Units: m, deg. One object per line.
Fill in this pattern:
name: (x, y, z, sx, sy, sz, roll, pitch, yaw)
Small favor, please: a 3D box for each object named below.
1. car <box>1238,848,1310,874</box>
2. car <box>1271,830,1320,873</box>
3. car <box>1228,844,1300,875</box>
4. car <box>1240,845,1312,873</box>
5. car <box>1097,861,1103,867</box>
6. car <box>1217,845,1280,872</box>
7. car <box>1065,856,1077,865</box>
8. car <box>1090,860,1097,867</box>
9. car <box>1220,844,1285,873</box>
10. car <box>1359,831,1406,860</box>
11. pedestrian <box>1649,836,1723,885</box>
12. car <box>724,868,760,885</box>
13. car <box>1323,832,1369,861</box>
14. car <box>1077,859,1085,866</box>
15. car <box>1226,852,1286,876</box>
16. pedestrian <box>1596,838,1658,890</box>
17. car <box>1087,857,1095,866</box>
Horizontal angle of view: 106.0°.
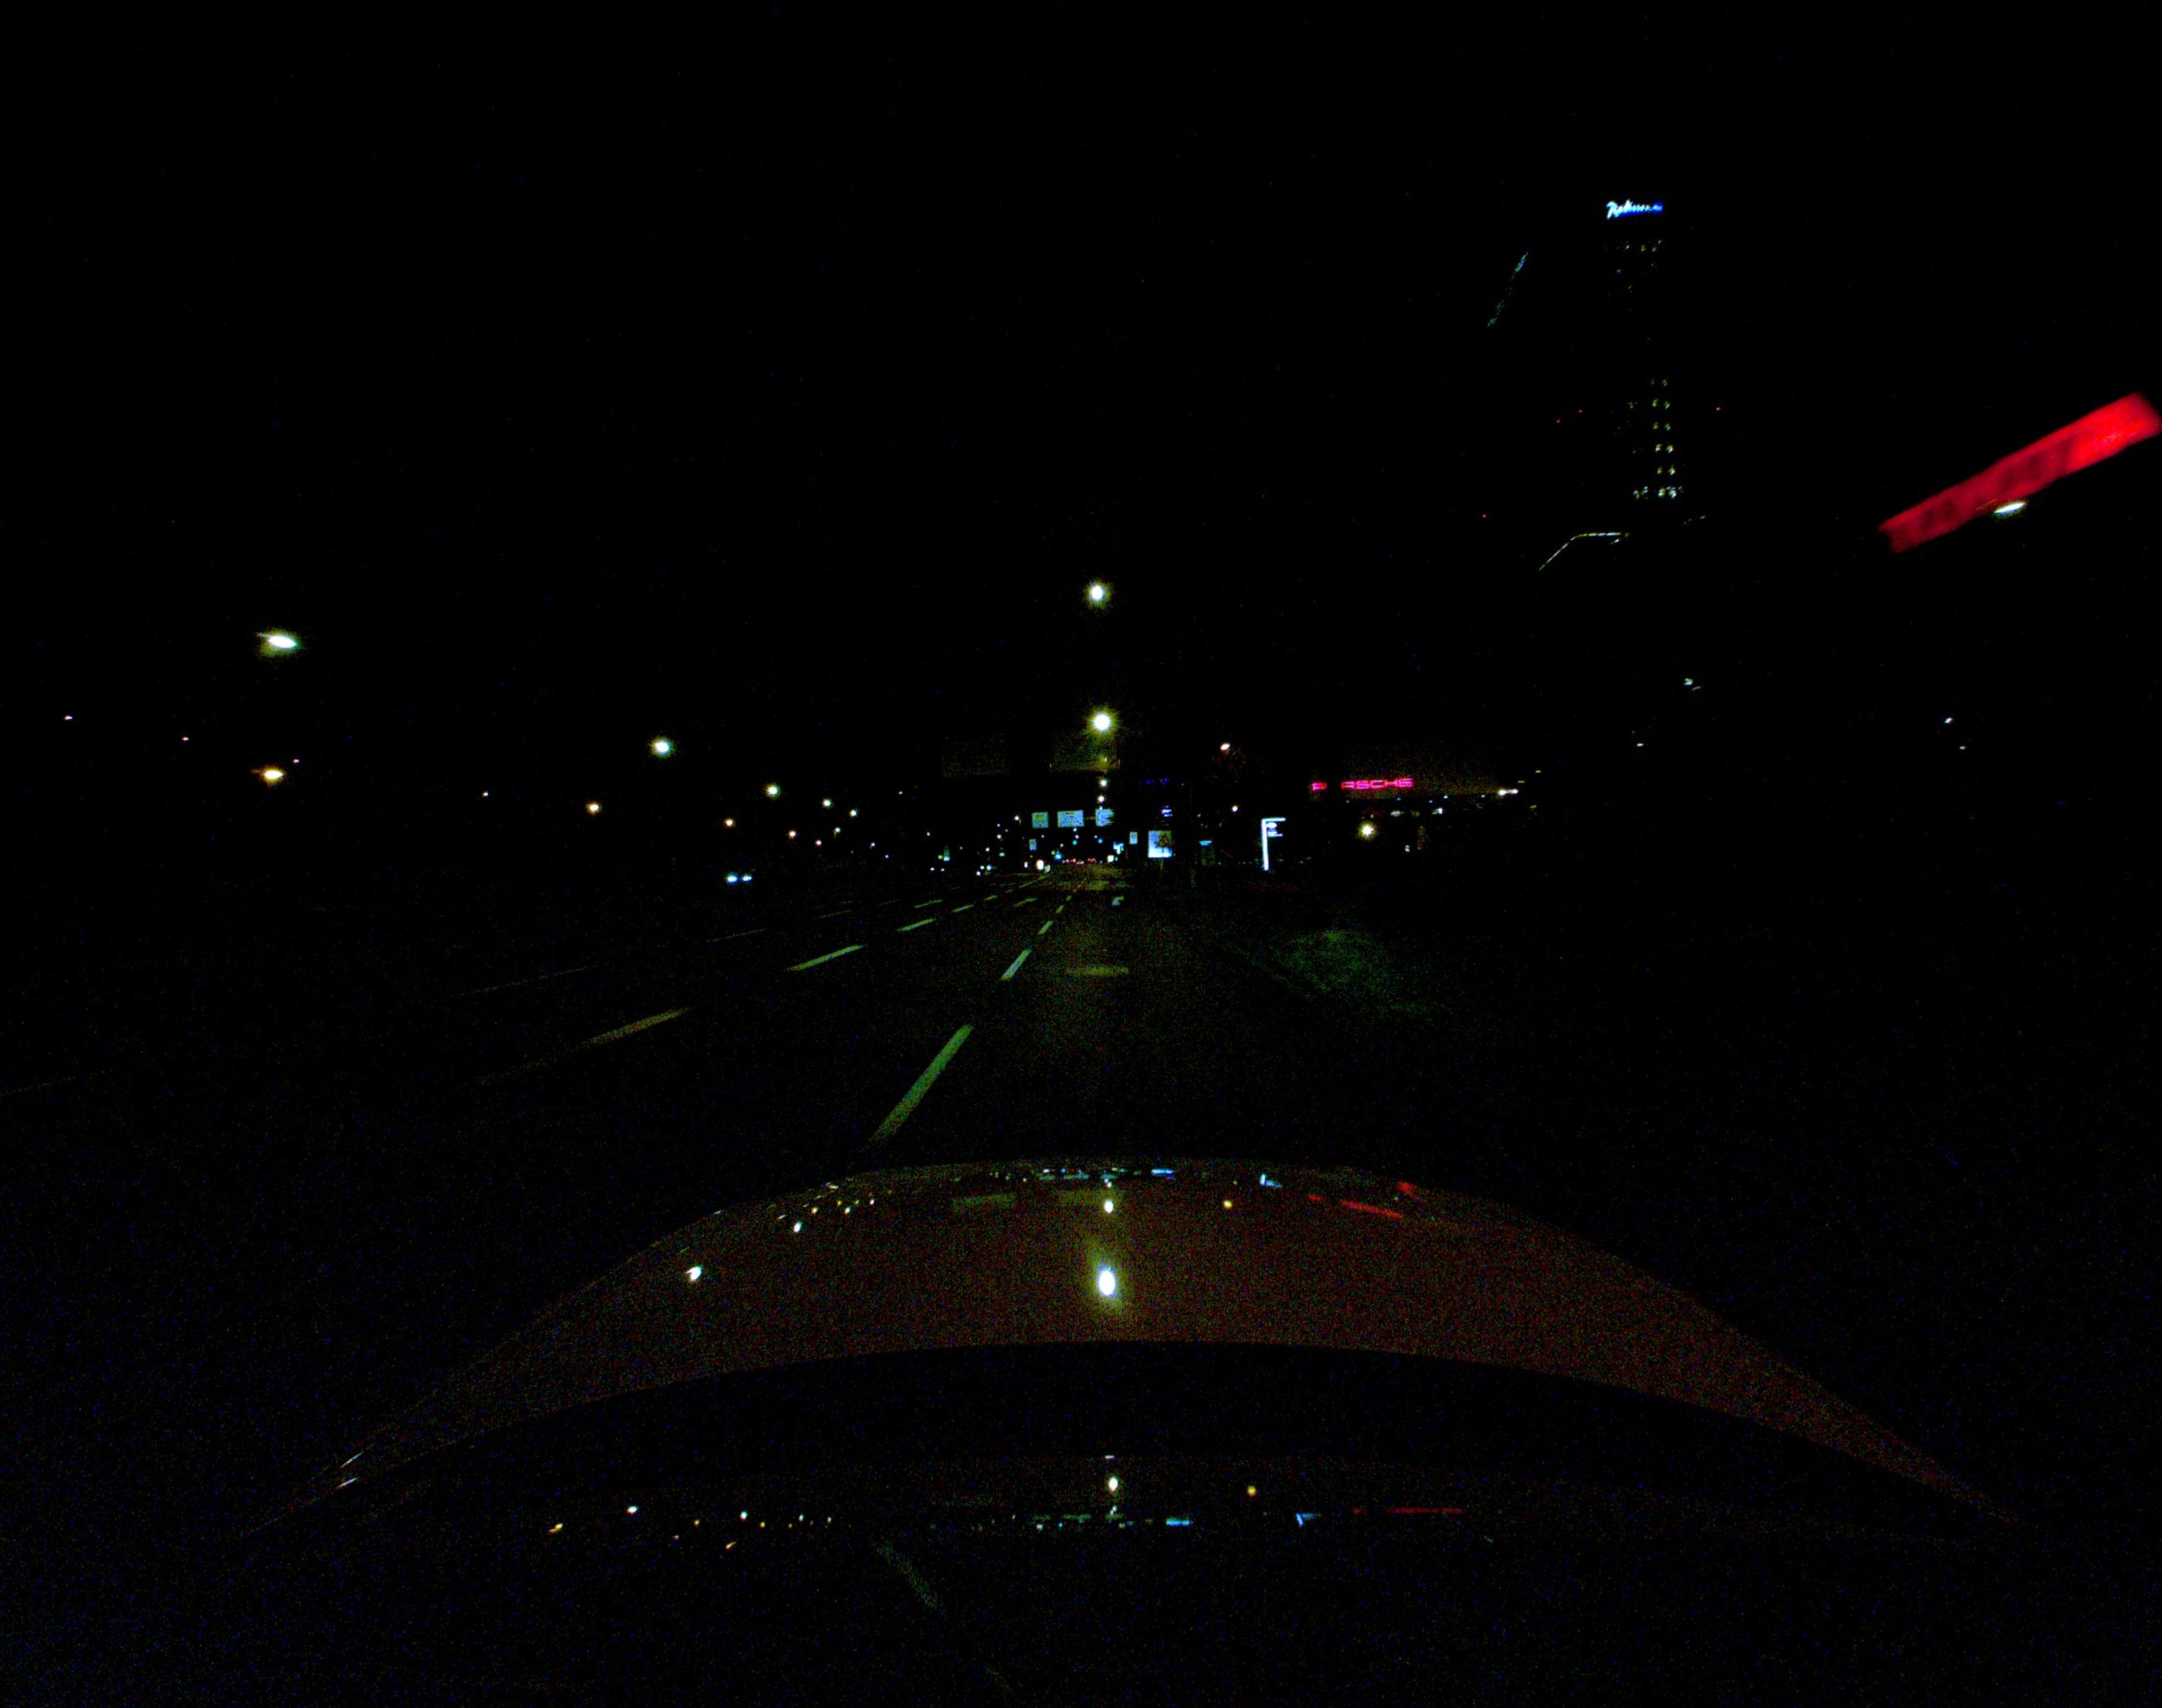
car: (11.238, 0.409, 47.596, 3.813, 1.411, 1.710, -1, -2, -1)
car: (10.445, -0.071, 39.465, 1.977, 1.945, 4.019, -1, -2, 19)
car: (11.246, 0.355, 50.255, 3.977, 1.856, 1.820, -1, -2, -2)
car: (10.817, 0.278, 45.308, 3.615, 1.451, 1.706, -1, -2, -2)
car: (5.448, 2.863, 234.750, 1.831, 1.838, 4.000, -1, -2, 1)
car: (11.760, 0.336, 57.274, 3.977, 1.856, 1.820, -1, -2, -2)
car: (-2.019, 1.277, 162.572, 1.959, 1.711, 4.004, -1, -2, 4)
car: (3.430, 2.554, 216.562, 1.774, 1.728, 4.000, -1, -2, 1)
car: (11.584, 0.337, 55.191, 3.977, 1.856, 1.820, -1, -2, -2)
car: (17.498, -0.475, 47.406, 1.881, 1.511, 3.644, -1, -2, 9)
pedestrian: (12.699, 0.145, 17.104, 0.999, 1.008, 0.768, 0, -2, -14)
car: (-30.827, 2.069, 74.204, 1.619, 1.481, 3.681, -1, -2, 2)
car: (14.947, -0.385, 46.114, 1.881, 1.511, 3.644, -1, -2, 9)
car: (-0.078, 2.379, 228.370, 1.986, 1.596, 4.001, -2, -2, 2)
car: (11.305, 0.662, 52.726, 3.501, 1.508, 1.734, -1, -2, -2)
pedestrian: (11.526, 0.214, 17.183, 0.902, 1.038, 0.776, -4, -2, 45)
car: (2.453, 1.904, 201.719, 1.986, 2.014, 4.000, -1, -2, 1)
